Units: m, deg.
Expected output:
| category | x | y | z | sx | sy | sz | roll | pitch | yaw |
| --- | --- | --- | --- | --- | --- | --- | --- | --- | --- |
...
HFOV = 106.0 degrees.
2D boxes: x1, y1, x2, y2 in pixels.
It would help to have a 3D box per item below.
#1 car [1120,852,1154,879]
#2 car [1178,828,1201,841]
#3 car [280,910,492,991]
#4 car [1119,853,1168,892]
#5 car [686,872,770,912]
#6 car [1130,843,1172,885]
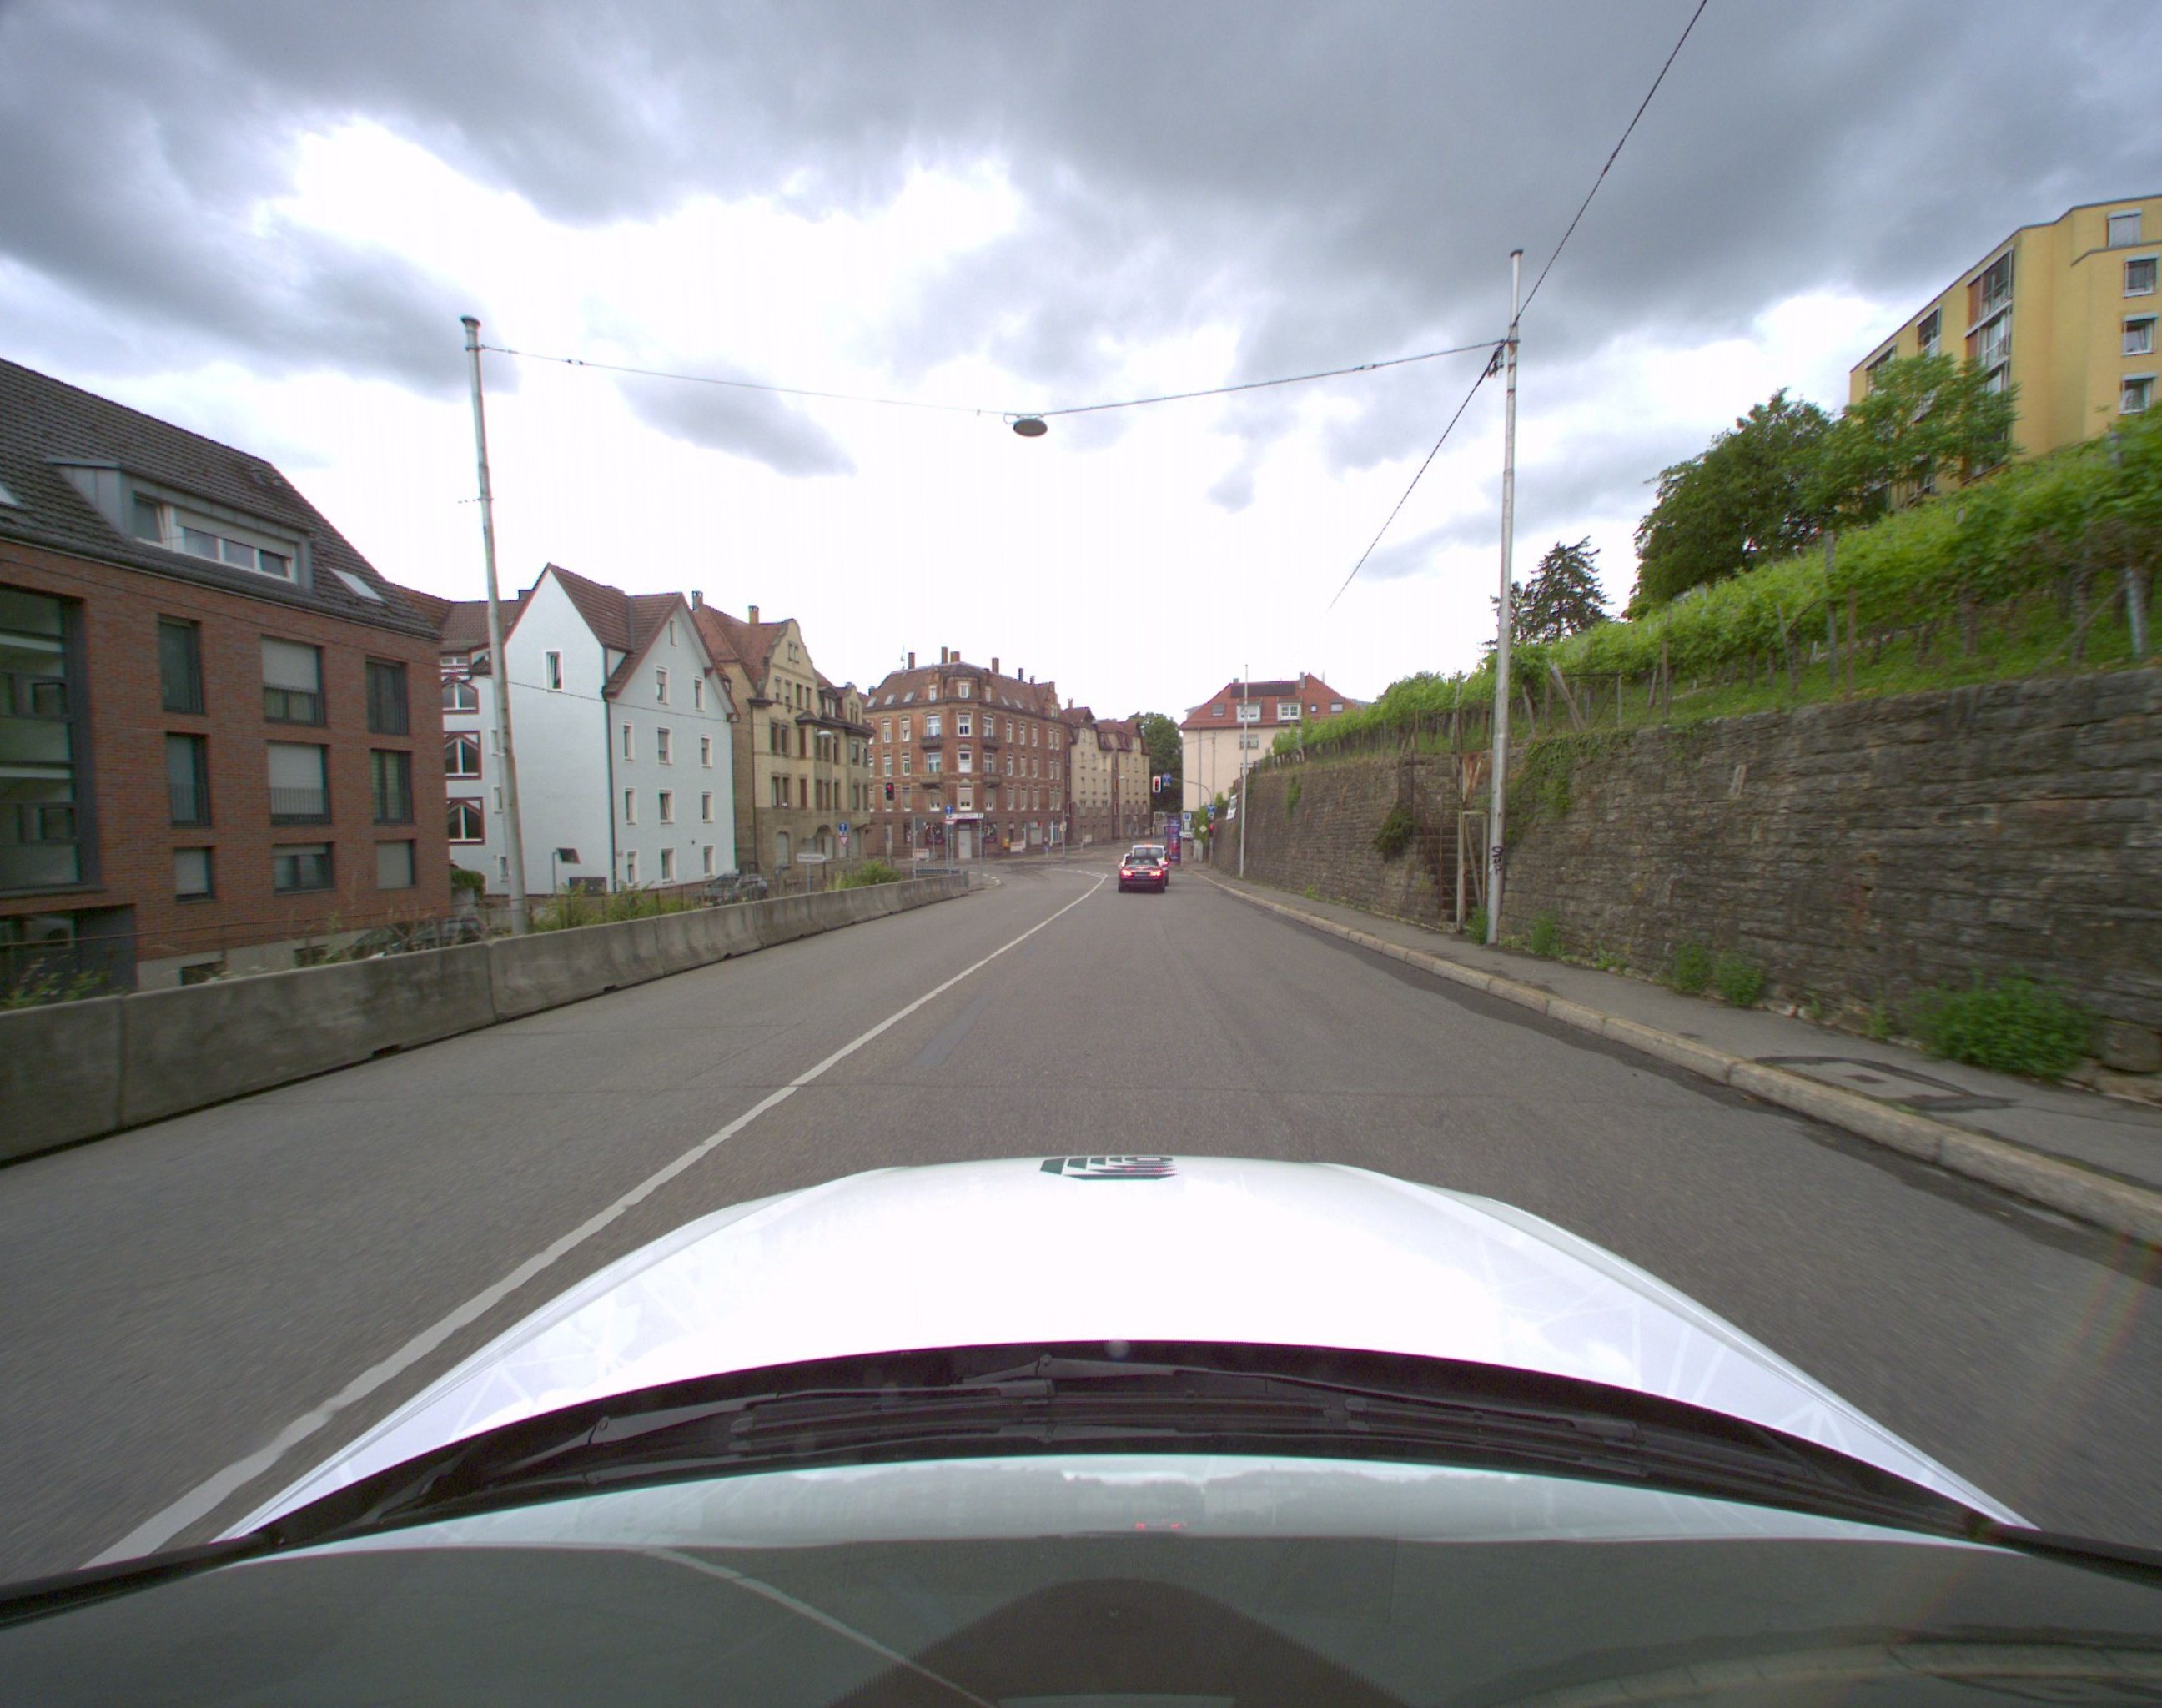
| category | x | y | z | sx | sy | sz | roll | pitch | yaw |
| --- | --- | --- | --- | --- | --- | --- | --- | --- | --- |
| car | 3.141 | 0.618 | 46.132 | 1.833 | 1.441 | 4.004 | 0 | 0 | 4 |
| car | 14.514 | -2.572 | 108.578 | 1.824 | 1.702 | 4.024 | 0 | 2 | 25 |
| car | -18.663 | 2.525 | 22.171 | 1.785 | 1.608 | 4.223 | -3 | 0 | 7 |
| car | 2.450 | 0.708 | 32.349 | 1.808 | 1.430 | 4.004 | 0 | 0 | 4 |
| car | -16.476 | 1.736 | 38.239 | 1.785 | 1.510 | 4.008 | -2 | 2 | 7 |
| car | 3.308 | 0.445 | 39.206 | 1.901 | 1.884 | 4.004 | 0 | 0 | 4 |
